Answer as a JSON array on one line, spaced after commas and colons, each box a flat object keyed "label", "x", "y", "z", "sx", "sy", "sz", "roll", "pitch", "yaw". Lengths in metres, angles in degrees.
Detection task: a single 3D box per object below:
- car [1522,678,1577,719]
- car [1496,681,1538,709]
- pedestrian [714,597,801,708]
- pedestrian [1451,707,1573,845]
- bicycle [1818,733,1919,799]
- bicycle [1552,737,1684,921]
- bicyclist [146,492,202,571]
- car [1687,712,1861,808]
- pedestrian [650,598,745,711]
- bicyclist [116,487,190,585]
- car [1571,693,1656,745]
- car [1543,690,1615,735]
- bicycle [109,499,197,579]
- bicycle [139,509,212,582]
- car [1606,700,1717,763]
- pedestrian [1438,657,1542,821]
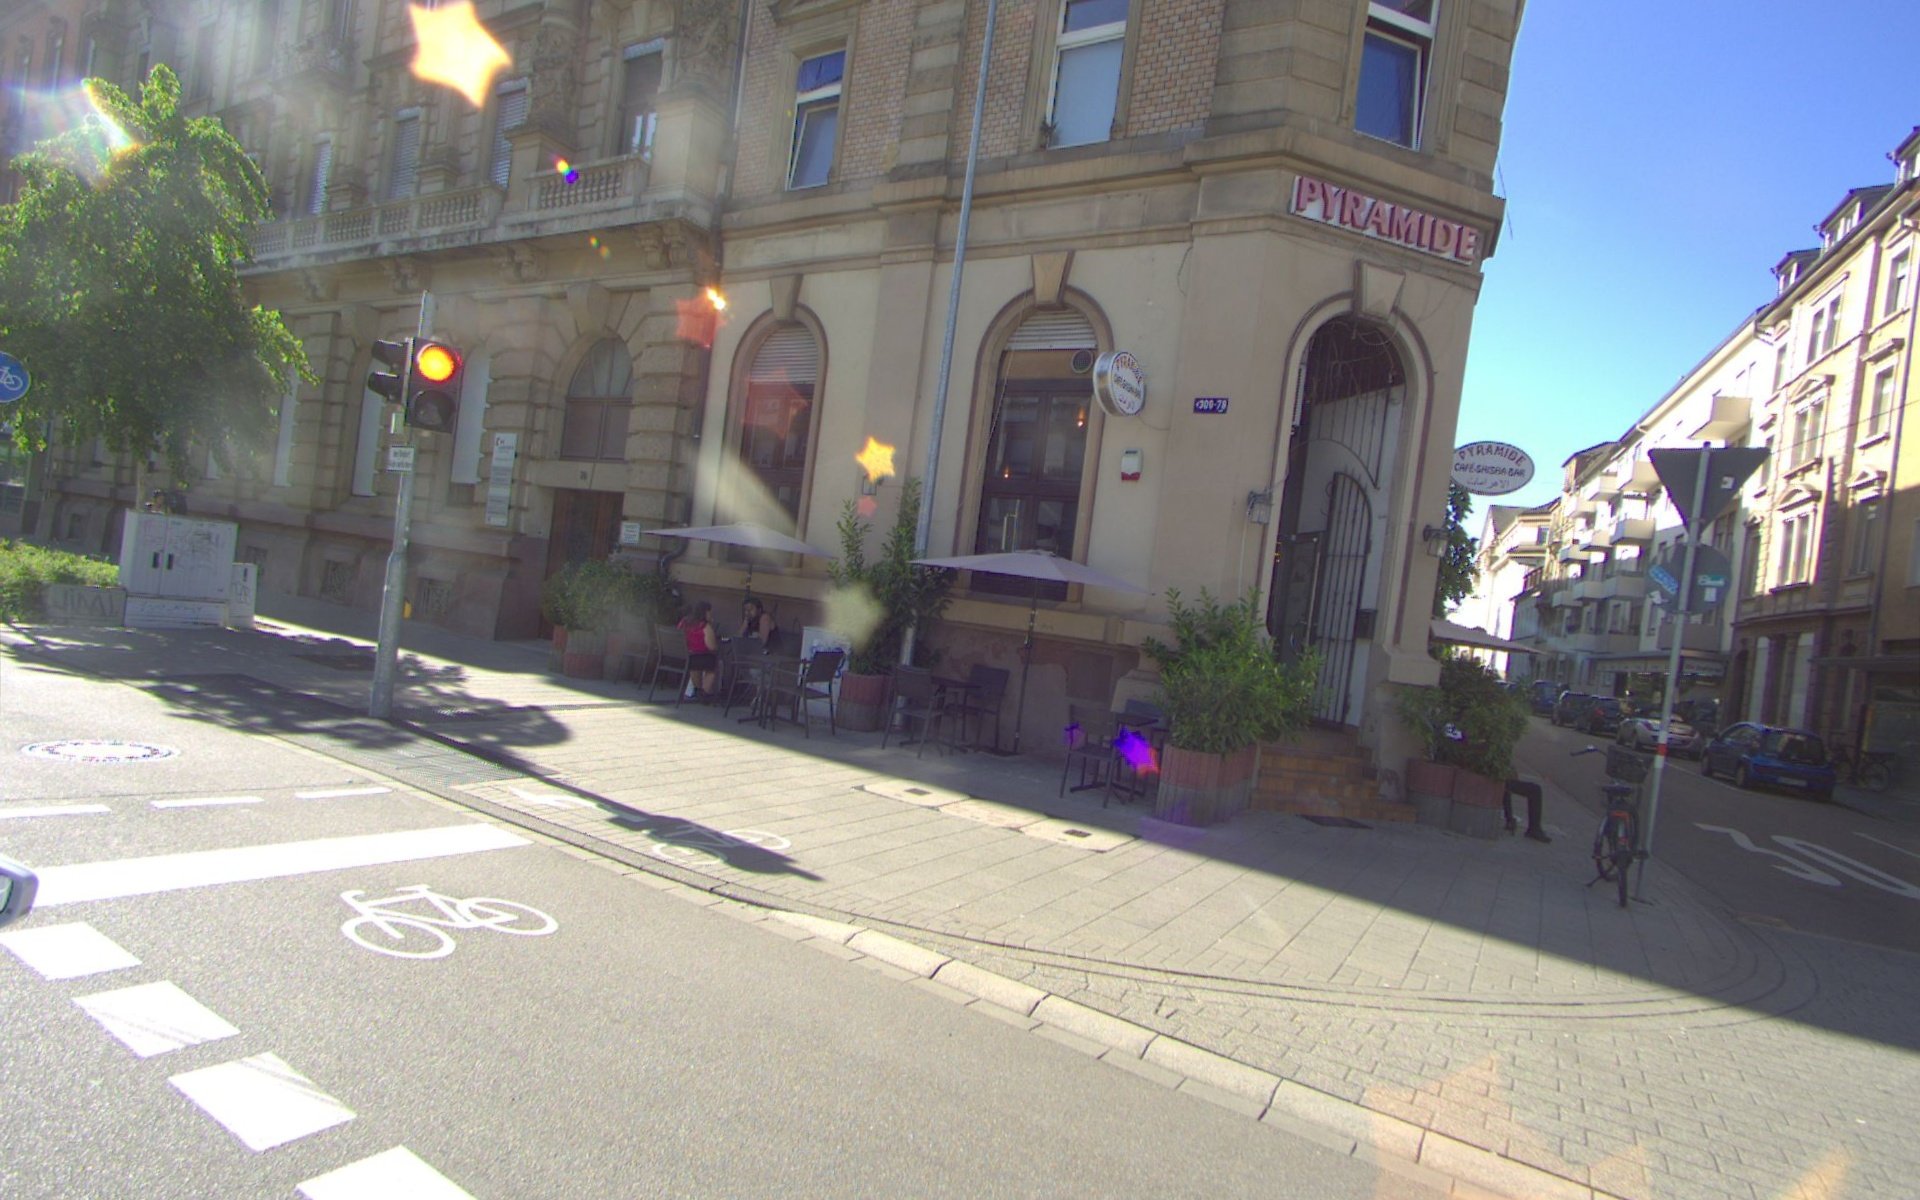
[{"label": "car", "x": 29.907, "y": 4.960, "z": 51.141, "sx": 1.769, "sy": 1.685, "sz": 3.772, "roll": 7, "pitch": 0, "yaw": 23}, {"label": "car", "x": 34.894, "y": 5.932, "z": 63.096, "sx": 1.769, "sy": 1.449, "sz": 3.772, "roll": 7, "pitch": -1, "yaw": 24}, {"label": "pedestrian", "x": -2.492, "y": 0.640, "z": 12.380, "sx": 0.624, "sy": 1.252, "sz": 0.706, "roll": 7, "pitch": 2, "yaw": 31}, {"label": "pedestrian", "x": 5.774, "y": 1.810, "z": 10.586, "sx": 0.917, "sy": 1.228, "sz": 0.852, "roll": 8, "pitch": -1, "yaw": 25}, {"label": "bicycle", "x": 21.836, "y": 3.960, "z": 24.159, "sx": 0.621, "sy": 1.192, "sz": 2.014, "roll": 7, "pitch": 0, "yaw": 1}, {"label": "bicycle", "x": 5.469, "y": 1.815, "z": 8.336, "sx": 0.643, "sy": 1.186, "sz": 1.818, "roll": 12, "pitch": 2, "yaw": 35}, {"label": "bicyclist", "x": -16.375, "y": -1.429, "z": 20.955, "sx": 0.788, "sy": 1.552, "sz": 0.660, "roll": 8, "pitch": 5, "yaw": 33}, {"label": "car", "x": 18.212, "y": 3.515, "z": 22.745, "sx": 1.769, "sy": 1.437, "sz": 4.000, "roll": 10, "pitch": 0, "yaw": 22}, {"label": "pedestrian", "x": -2.997, "y": 0.616, "z": 11.499, "sx": 0.624, "sy": 1.193, "sz": 0.706, "roll": 7, "pitch": 2, "yaw": 31}, {"label": "bicyclist", "x": -14.816, "y": -1.177, "z": 18.466, "sx": 0.945, "sy": 1.659, "sz": 0.667, "roll": 8, "pitch": 1, "yaw": 32}, {"label": "car", "x": 23.845, "y": 4.292, "z": 36.839, "sx": 1.769, "sy": 1.449, "sz": 3.773, "roll": 7, "pitch": -1, "yaw": 22}, {"label": "car", "x": 25.627, "y": 4.626, "z": 41.784, "sx": 1.769, "sy": 1.449, "sz": 3.773, "roll": 7, "pitch": -1, "yaw": 22}, {"label": "bicycle", "x": -14.851, "y": -1.130, "z": 18.497, "sx": 1.868, "sy": 1.237, "sz": 0.584, "roll": 8, "pitch": 0, "yaw": 32}, {"label": "bicycle", "x": -16.429, "y": -1.151, "z": 21.046, "sx": 1.869, "sy": 1.349, "sz": 0.615, "roll": 8, "pitch": 5, "yaw": 33}, {"label": "car", "x": 21.579, "y": 3.995, "z": 31.105, "sx": 1.769, "sy": 1.350, "sz": 4.000, "roll": 10, "pitch": 0, "yaw": 22}, {"label": "pedestrian", "x": 6.372, "y": 1.644, "z": 12.144, "sx": 0.852, "sy": 1.781, "sz": 0.909, "roll": 8, "pitch": -1, "yaw": 25}]
